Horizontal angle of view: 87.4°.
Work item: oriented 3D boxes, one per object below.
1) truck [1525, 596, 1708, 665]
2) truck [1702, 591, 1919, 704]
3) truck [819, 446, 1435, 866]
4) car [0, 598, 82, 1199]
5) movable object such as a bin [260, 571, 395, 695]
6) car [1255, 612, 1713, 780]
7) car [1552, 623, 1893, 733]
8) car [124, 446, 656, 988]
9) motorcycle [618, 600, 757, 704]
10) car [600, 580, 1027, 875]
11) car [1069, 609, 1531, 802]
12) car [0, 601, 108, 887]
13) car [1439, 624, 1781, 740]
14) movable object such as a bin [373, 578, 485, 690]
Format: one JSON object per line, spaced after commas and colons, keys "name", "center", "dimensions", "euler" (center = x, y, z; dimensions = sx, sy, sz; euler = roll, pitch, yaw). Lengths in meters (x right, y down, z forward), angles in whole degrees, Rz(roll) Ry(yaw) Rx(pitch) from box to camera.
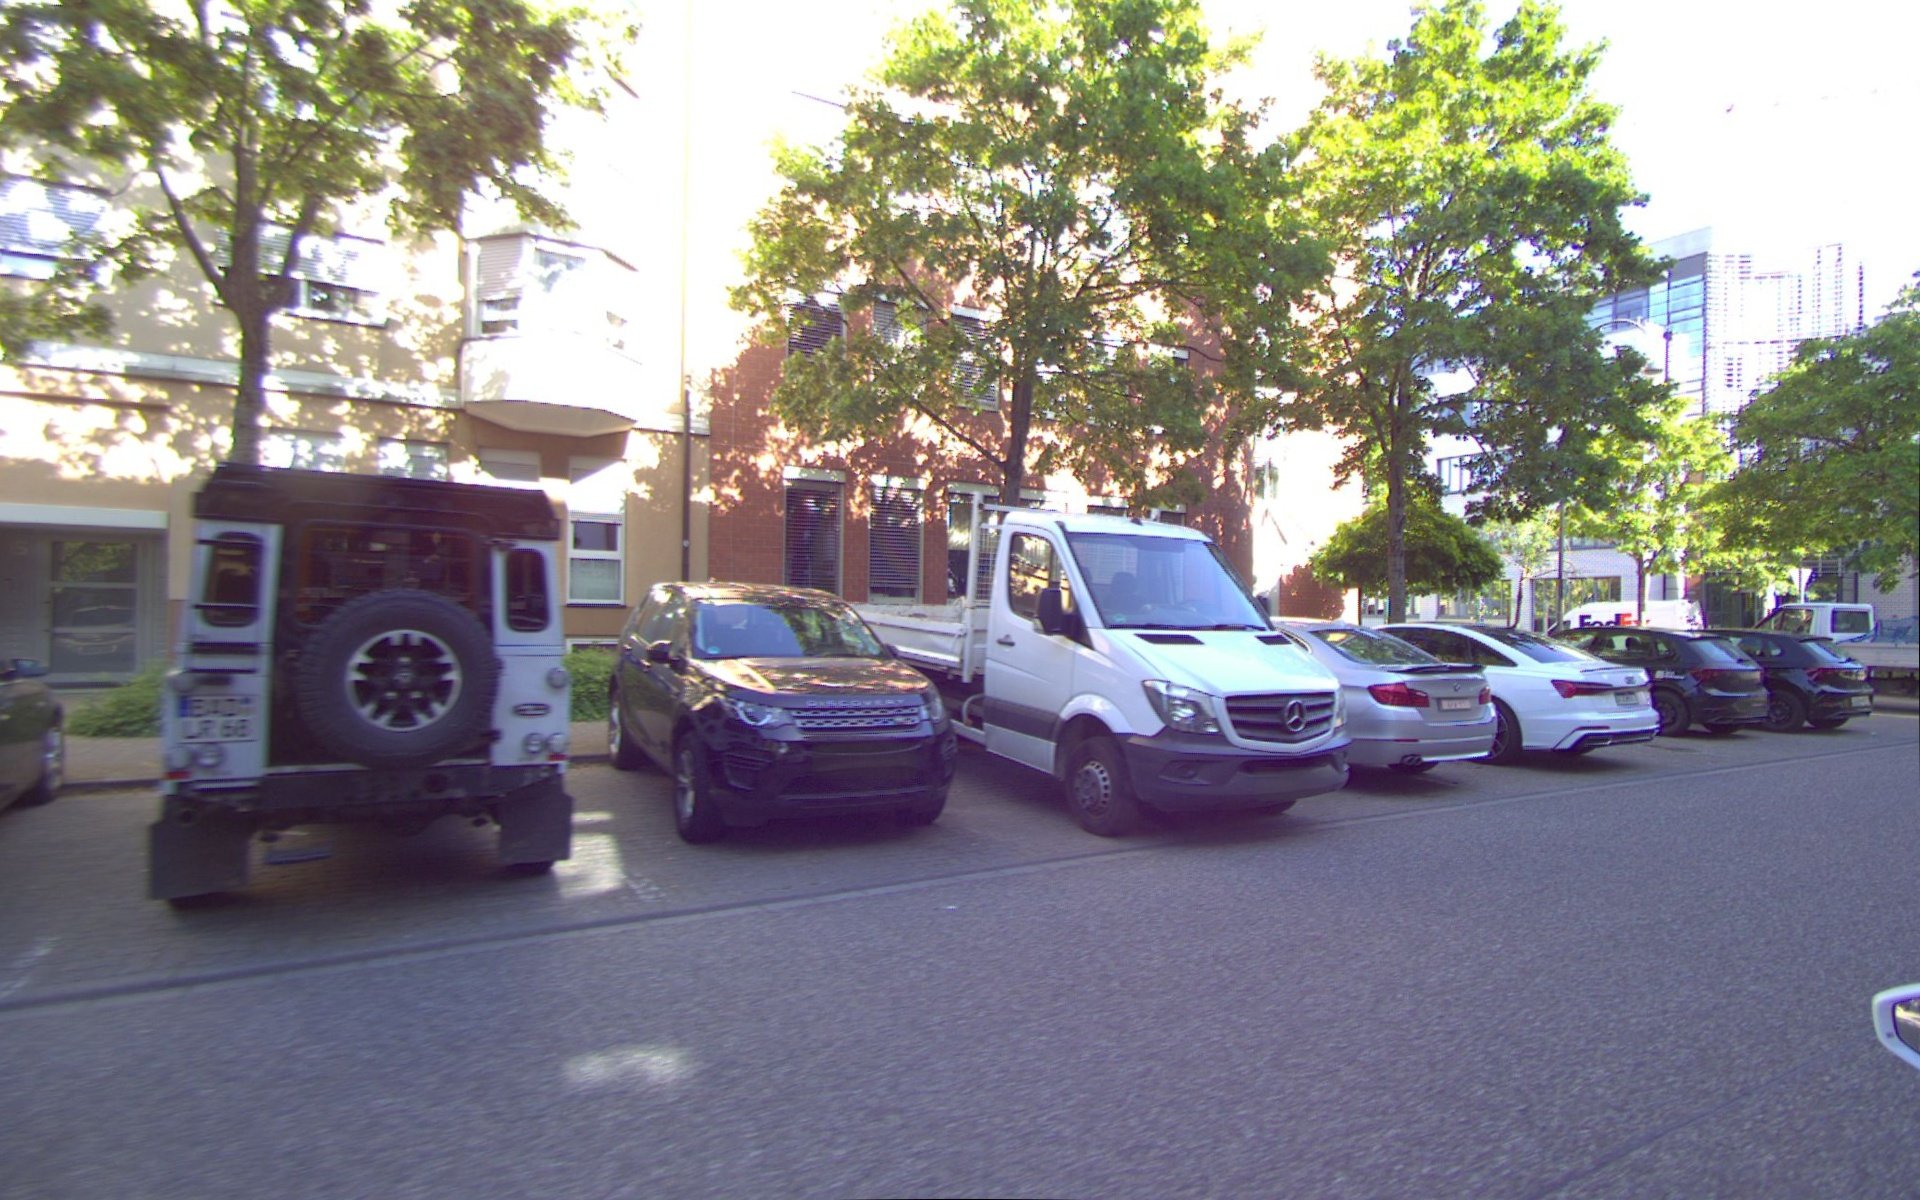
{"name": "truck", "center": [27.844, 1.278, 42.866], "dimensions": [2.550, 2.740, 6.070], "euler": [1, -1, -32]}
{"name": "truck", "center": [17.356, 0.871, 18.991], "dimensions": [2.111, 1.985, 4.966], "euler": [1, -1, -28]}
{"name": "truck", "center": [0.855, 0.392, 9.131], "dimensions": [2.161, 2.454, 6.205], "euler": [1, -1, -29]}
{"name": "car", "center": [-3.833, 0.675, 1.167], "dimensions": [3.954, 1.439, 1.636], "euler": [1, -1, -31]}
{"name": "movable object such as a bin", "center": [-8.930, 0.452, 14.196], "dimensions": [1.431, 1.641, 1.134], "euler": [1, -1, -42]}
{"name": "car", "center": [5.895, 0.940, 11.934], "dimensions": [1.868, 1.461, 4.517], "euler": [0, 1, -31]}
{"name": "car", "center": [11.926, 1.139, 16.018], "dimensions": [1.765, 1.454, 3.974], "euler": [1, -1, -26]}
{"name": "car", "center": [-3.499, 0.434, 6.282], "dimensions": [1.978, 2.079, 4.457], "euler": [2, 0, -31]}
{"name": "motorcycle", "center": [-4.463, 0.830, 16.499], "dimensions": [2.086, 1.612, 0.710], "euler": [1, -1, -32]}
{"name": "car", "center": [-1.438, 0.718, 8.011], "dimensions": [1.977, 1.684, 4.087], "euler": [2, 0, -30]}
{"name": "car", "center": [3.287, 0.899, 10.638], "dimensions": [1.977, 1.507, 4.404], "euler": [1, 0, -31]}
{"name": "car", "center": [-6.069, 0.783, 5.153], "dimensions": [1.810, 1.512, 3.762], "euler": [1, 0, -28]}
{"name": "car", "center": [9.488, 1.097, 14.995], "dimensions": [1.701, 1.454, 3.969], "euler": [0, -1, -30]}
{"name": "movable object such as a bin", "center": [-7.961, 0.500, 15.073], "dimensions": [1.235, 1.583, 1.134], "euler": [1, -1, -42]}
